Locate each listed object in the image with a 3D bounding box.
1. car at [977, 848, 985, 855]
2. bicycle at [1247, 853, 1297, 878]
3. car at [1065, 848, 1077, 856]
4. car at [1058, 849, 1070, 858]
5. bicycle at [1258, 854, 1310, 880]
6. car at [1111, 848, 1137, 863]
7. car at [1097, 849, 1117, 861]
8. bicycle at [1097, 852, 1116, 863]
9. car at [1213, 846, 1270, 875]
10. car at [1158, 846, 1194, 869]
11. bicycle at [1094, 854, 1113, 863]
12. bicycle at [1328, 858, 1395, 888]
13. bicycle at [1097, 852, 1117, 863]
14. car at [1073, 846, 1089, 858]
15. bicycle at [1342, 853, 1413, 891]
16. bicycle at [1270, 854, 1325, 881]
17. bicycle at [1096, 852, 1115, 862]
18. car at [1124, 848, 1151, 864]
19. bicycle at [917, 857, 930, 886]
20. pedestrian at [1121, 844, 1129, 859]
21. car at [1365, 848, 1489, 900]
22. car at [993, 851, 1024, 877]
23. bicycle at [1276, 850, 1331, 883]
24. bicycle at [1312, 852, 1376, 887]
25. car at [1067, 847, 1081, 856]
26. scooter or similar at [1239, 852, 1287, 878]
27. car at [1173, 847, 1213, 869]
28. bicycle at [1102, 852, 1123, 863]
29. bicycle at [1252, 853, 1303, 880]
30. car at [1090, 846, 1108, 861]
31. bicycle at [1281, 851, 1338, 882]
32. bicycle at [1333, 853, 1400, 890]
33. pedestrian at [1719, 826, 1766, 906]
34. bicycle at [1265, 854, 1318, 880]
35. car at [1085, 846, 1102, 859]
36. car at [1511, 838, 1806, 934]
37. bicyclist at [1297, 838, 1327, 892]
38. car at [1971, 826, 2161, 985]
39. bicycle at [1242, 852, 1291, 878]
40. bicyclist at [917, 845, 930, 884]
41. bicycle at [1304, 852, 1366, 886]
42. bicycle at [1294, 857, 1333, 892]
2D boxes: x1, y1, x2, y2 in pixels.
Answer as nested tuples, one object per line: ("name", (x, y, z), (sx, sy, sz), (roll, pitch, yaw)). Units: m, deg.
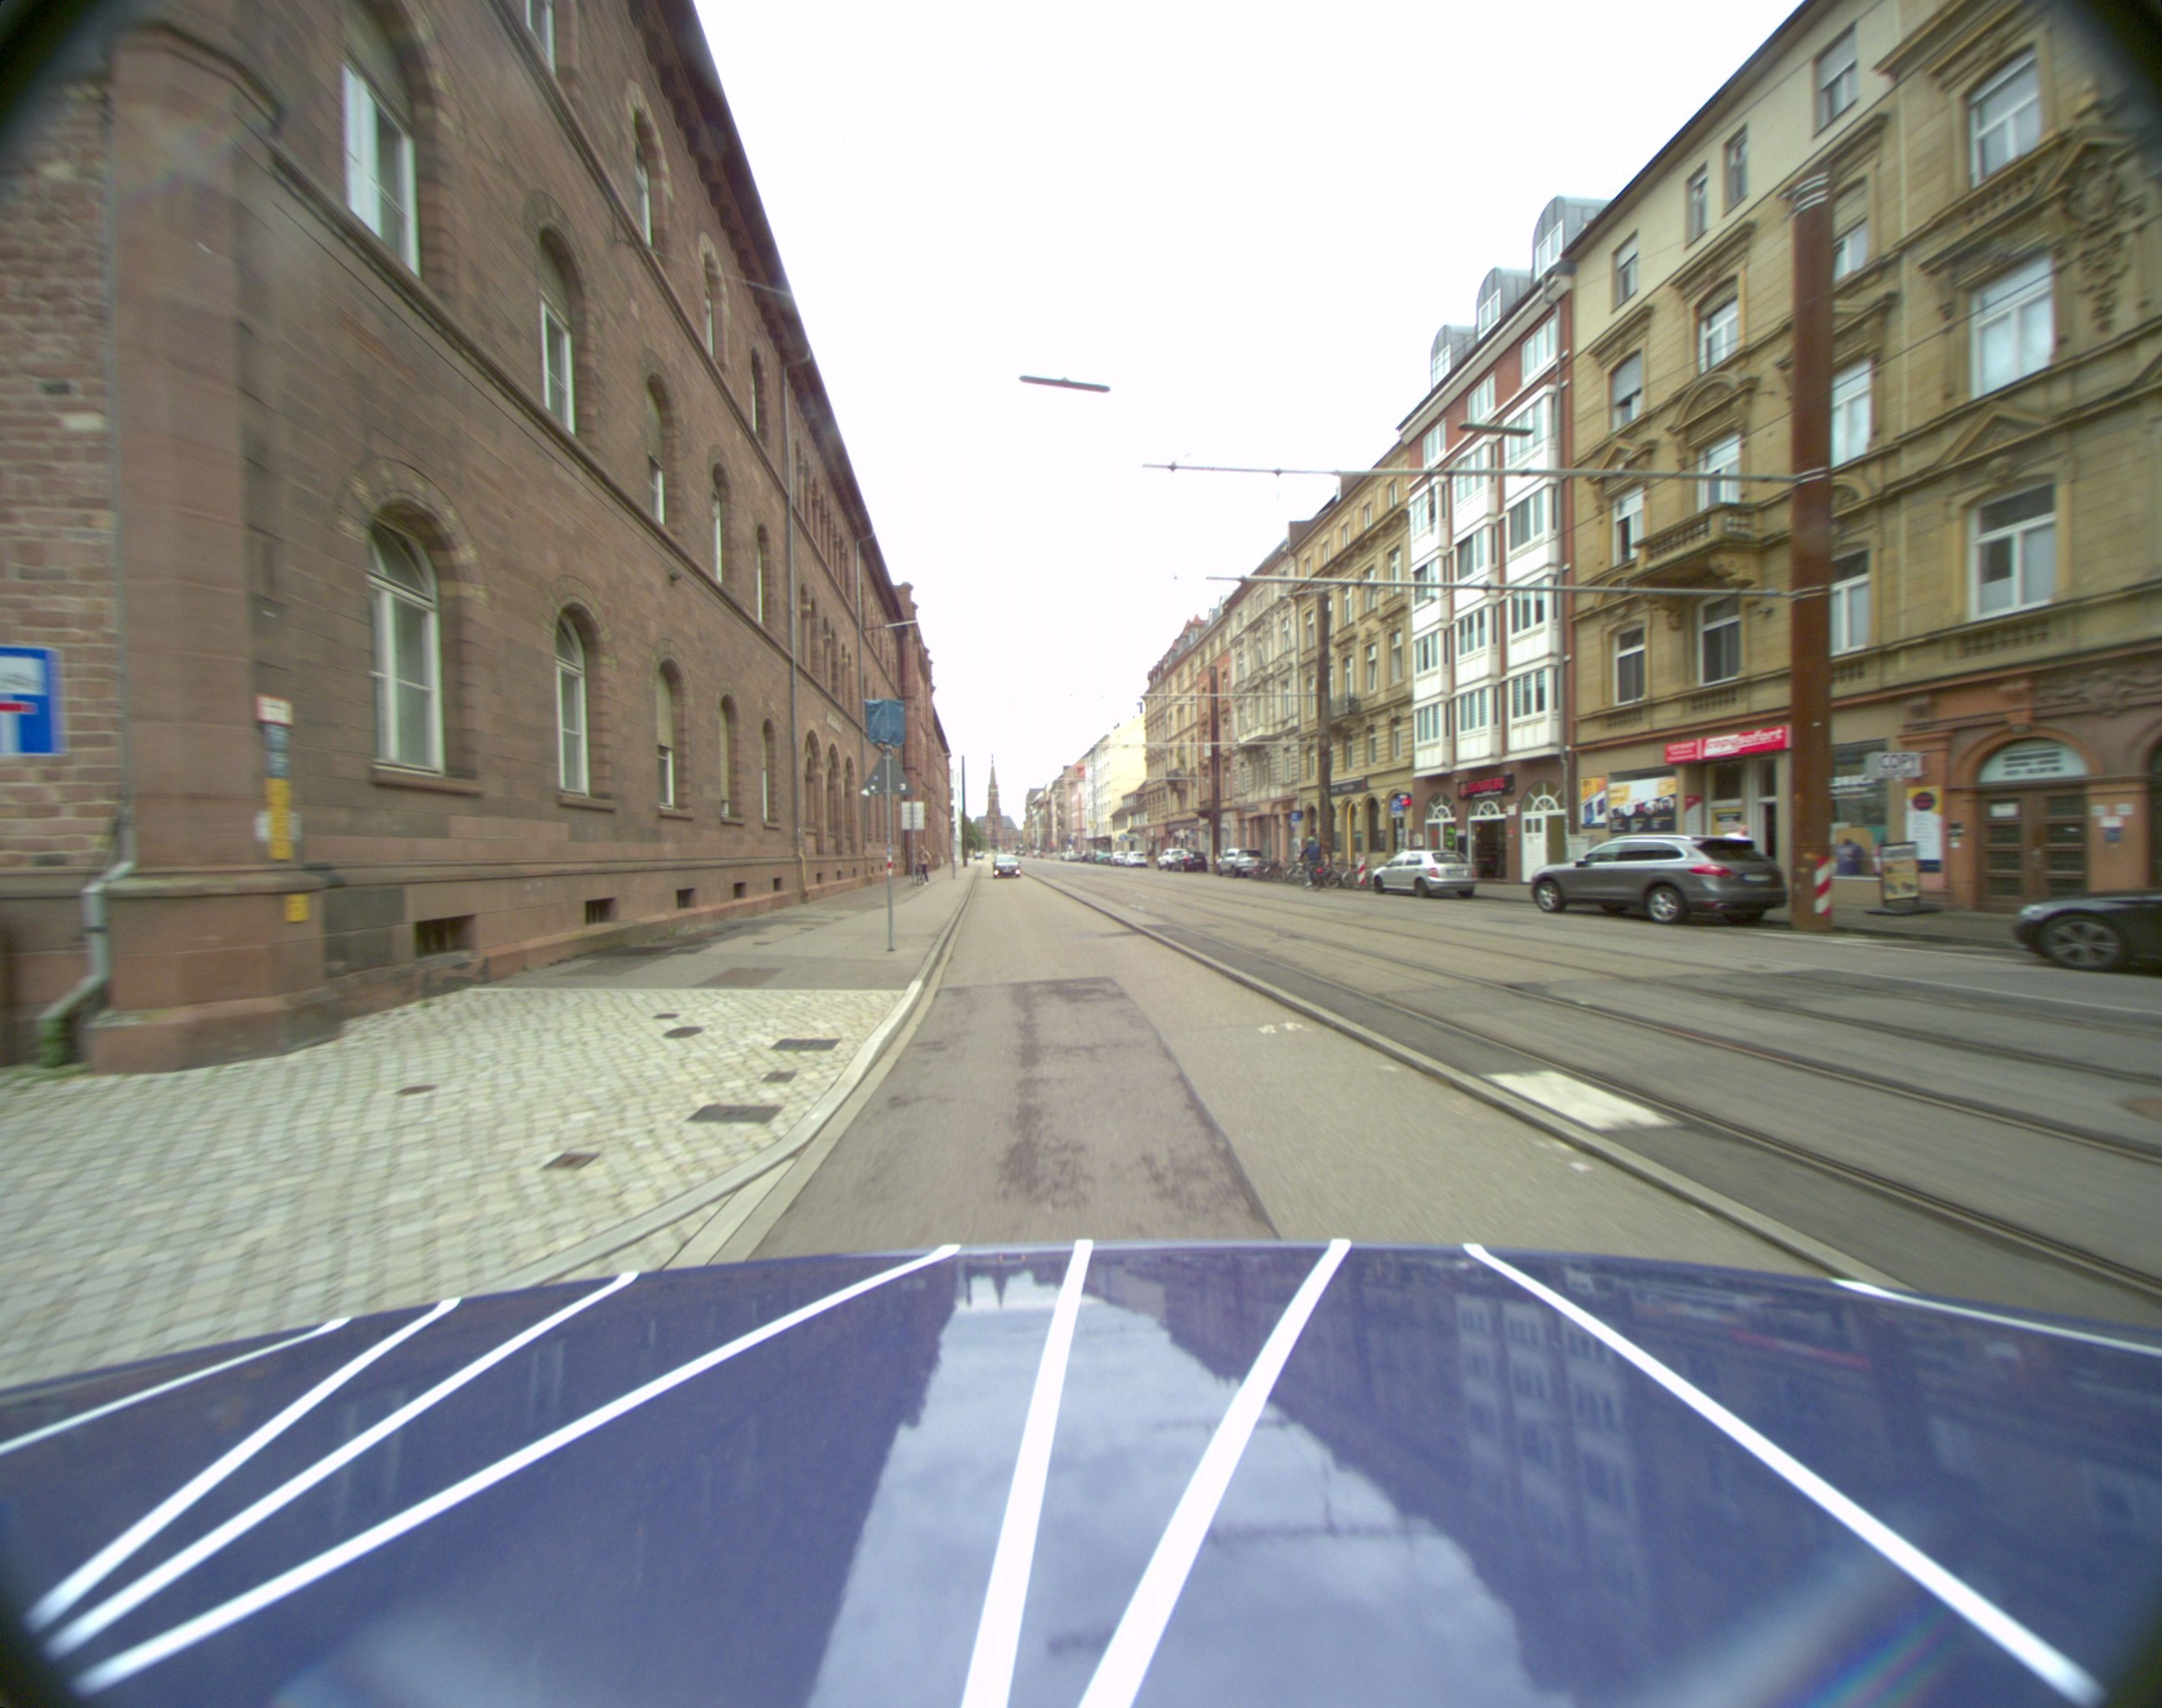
("car", (-24.335, -0.674, 184.384), (1.836, 1.652, 3.997), (-2, 1, -7))
("bicycle", (9.353, 0.548, 37.224), (2.289, 1.196, 0.704), (0, 1, -7))
("car", (-1.730, -0.349, 129.004), (1.734, 1.336, 3.244), (-2, 1, -7))
("car", (-3.344, -0.077, 146.537), (1.869, 1.554, 3.997), (0, 1, -7))
("bicycle", (9.593, 0.608, 35.947), (2.289, 1.196, 0.704), (0, 1, -7))
("car", (4.280, 0.143, 75.662), (1.830, 1.512, 4.542), (0, 0, -7))
("car", (3.047, 0.072, 90.522), (1.652, 1.373, 3.433), (0, 0, -10))
("bicycle", (2.785, 0.355, 83.129), (2.045, 1.091, 0.556), (-2, 2, -6))
("car", (8.809, 0.342, 42.081), (1.749, 1.524, 4.222), (0, 0, -8))
("car", (7.037, 0.239, 56.775), (1.749, 1.663, 4.043), (0, 0, -7))
("bicycle", (2.548, 0.484, 85.532), (2.045, 0.928, 0.556), (-2, 2, -5))
("bicycle", (10.461, 0.706, 28.320), (2.289, 1.035, 0.619), (-2, 1, -7))
("bicycle", (2.814, 0.369, 82.520), (2.045, 1.091, 0.556), (-2, 2, -6))
("car", (0.016, -0.344, 116.093), (1.929, 1.722, 3.823), (-2, 1, -7))
("bicycle", (10.528, 0.632, 26.974), (2.289, 1.322, 0.666), (0, 1, -7))
("bicycle", (9.822, 0.607, 34.475), (2.289, 1.196, 0.666), (0, 1, -7))
("bicycle", (2.718, 0.340, 83.791), (2.045, 1.091, 0.556), (-2, 2, -6))
("car", (5.277, 0.167, 71.115), (1.749, 1.456, 4.043), (0, 0, -7))
("bicycle", (-7.526, 0.818, 36.288), (0.447, 1.269, 2.225), (0, 1, -7))
("pedestrian", (5.112, -0.271, 88.013), (0.657, 1.703, 0.753), (-3, 2, -7))
("car", (10.804, 0.562, 24.052), (1.749, 1.480, 3.917), (0, 0, -8))
("car", (-4.682, 0.596, 48.875), (1.748, 1.538, 3.647), (-2, 1, -8))
("bicycle", (9.893, 0.548, 33.822), (2.289, 1.287, 0.448), (-3, 2, -7))
("bicycle", (10.244, 0.593, 29.588), (2.289, 1.322, 0.666), (0, 1, -7))
("car", (-1.136, -0.428, 122.683), (1.734, 1.443, 3.823), (-2, 1, -7))
("scooter or similar", (9.244, 0.552, 38.540), (2.289, 1.196, 0.547), (-3, 1, -7))
("car", (7.635, 0.253, 52.069), (1.749, 1.480, 3.917), (0, 0, -6))
("bicycle", (3.360, 0.383, 81.457), (2.140, 1.091, 0.556), (-2, 2, -6))
("bicycle", (9.460, 0.600, 36.595), (2.289, 1.197, 0.540), (-3, 3, -7))
("car", (2.234, -0.080, 95.027), (1.708, 1.747, 3.917), (0, 1, -5))
("bicycle", (9.981, 0.547, 33.232), (2.289, 1.322, 0.666), (0, 1, -7))
("bicycle", (10.393, 0.635, 27.684), (2.289, 1.322, 0.520), (0, 1, -7))
("pedestrian", (15.120, 0.262, 17.388), (0.653, 1.772, 0.787), (-1, 2, 30))
("bicycle", (9.732, 0.606, 35.183), (2.289, 1.196, 0.666), (0, 1, -7))
("car", (1.698, -0.173, 103.848), (1.705, 1.662, 4.178), (-2, 1, -6))
("car", (11.658, 0.545, 15.937), (1.819, 1.680, 5.026), (0, 0, -10))
("bicyclist", (8.277, 0.367, 27.277), (0.647, 1.872, 1.028), (-2, 2, -5))
("car", (12.460, 0.567, 7.131), (1.925, 1.679, 5.047), (1, 1, -8))
("bicycle", (9.266, 0.556, 37.904), (2.289, 1.196, 0.547), (-2, 1, -7))
("bicyclist", (-7.527, 0.518, 36.332), (0.530, 1.847, 0.450), (-1, 1, -8))
("bicycle", (10.154, 0.582, 30.411), (2.289, 1.322, 0.666), (0, 1, -7))
("bicycle", (8.298, 0.710, 27.241), (0.587, 1.167, 2.043), (0, 1, -5))
